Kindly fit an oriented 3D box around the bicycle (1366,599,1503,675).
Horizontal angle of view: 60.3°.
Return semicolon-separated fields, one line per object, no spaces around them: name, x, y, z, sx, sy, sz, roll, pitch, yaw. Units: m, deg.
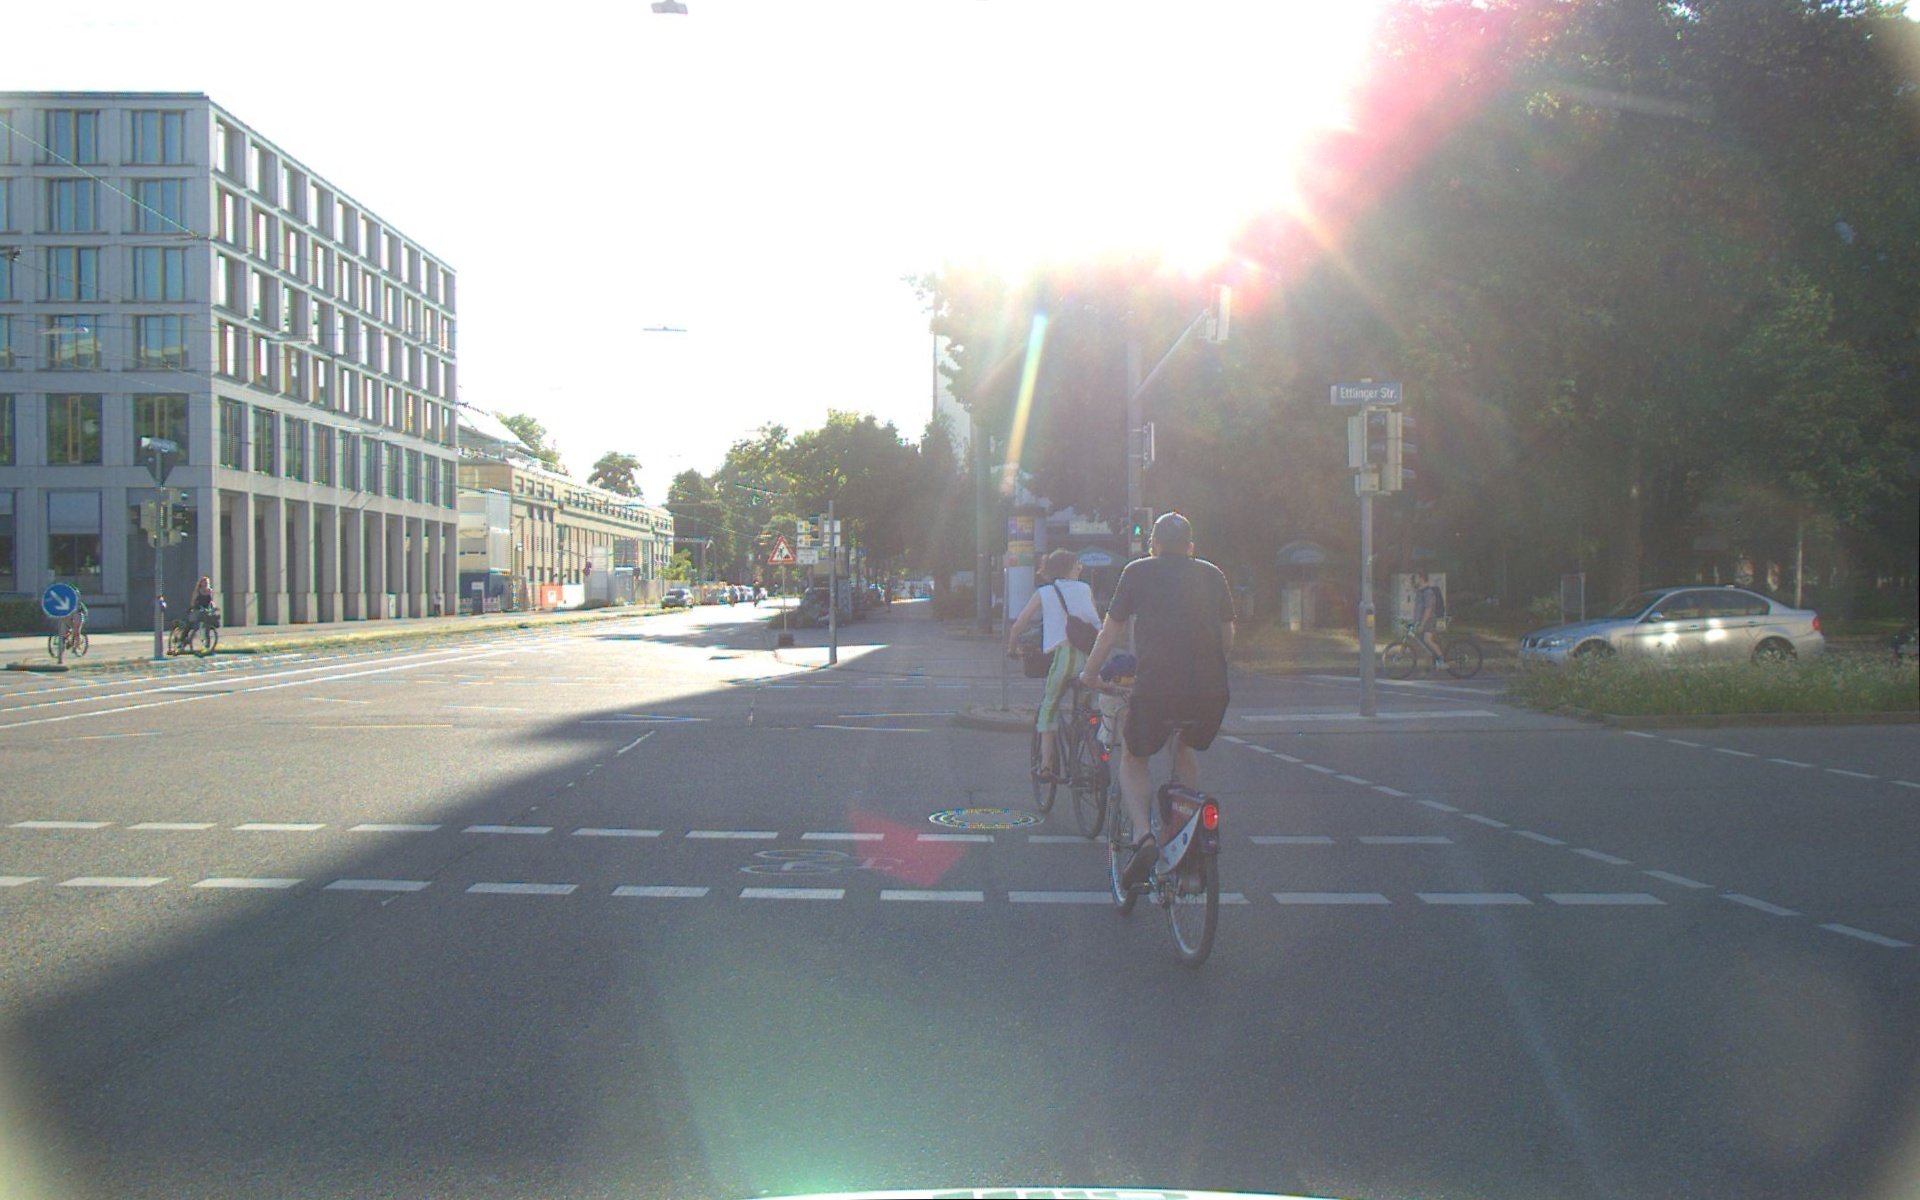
bicycle;8.056;0.631;28.184;2.194;1.261;0.779;-1;0;14

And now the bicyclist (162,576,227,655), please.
bicyclist;-16.365;0.323;35.354;0.951;1.647;0.851;-1;0;28

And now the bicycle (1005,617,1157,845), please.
bicycle;0.725;0.764;10.640;0.760;1.261;2.312;1;0;-1

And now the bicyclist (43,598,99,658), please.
bicyclist;-21.267;0.659;39.600;0.807;1.385;0.972;-1;0;-1

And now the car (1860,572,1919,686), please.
car;16.526;0.405;25.290;4.442;1.705;2.000;-1;0;-1

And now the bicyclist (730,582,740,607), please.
bicyclist;-16.597;-0.404;121.851;0.622;1.885;0.783;-1;0;-1

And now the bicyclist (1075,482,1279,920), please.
bicyclist;0.916;0.413;7.169;0.737;1.774;0.838;1;-1;-1

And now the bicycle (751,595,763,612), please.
bicycle;-14.307;0.213;116.733;0.647;1.176;1.808;-1;0;-1

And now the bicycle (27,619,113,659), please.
bicycle;-21.268;0.923;39.575;0.823;0.866;2.335;-1;0;-1

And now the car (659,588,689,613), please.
car;-23.450;0.004;135.807;1.954;2.004;3.997;-1;0;-3

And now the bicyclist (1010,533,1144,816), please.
bicyclist;0.729;0.457;10.580;0.757;1.720;0.925;1;0;-1

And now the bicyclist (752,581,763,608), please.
bicyclist;-14.326;-0.384;116.813;0.650;1.885;0.783;-1;0;-1

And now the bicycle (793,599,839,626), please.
bicycle;-5.144;0.436;58.889;1.571;0.904;0.768;-1;0;-10

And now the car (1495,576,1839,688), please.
car;10.803;0.466;25.506;4.442;1.588;2.000;-1;0;-1

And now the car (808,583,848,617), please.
car;-5.937;-0.018;74.744;1.664;1.453;3.997;-1;0;-3

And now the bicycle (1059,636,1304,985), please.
bicycle;0.903;0.821;7.286;0.760;1.261;2.020;1;0;-1

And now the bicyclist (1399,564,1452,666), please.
bicyclist;7.937;0.257;28.215;0.818;1.708;0.784;-1;-1;13

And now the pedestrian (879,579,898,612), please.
pedestrian;-3.859;-0.232;89.389;0.770;1.771;0.889;-1;0;-20

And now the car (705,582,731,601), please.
car;-22.120;-0.764;151.162;1.954;1.668;3.997;-1;0;-3

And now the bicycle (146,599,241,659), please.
bicycle;-16.395;0.616;35.376;1.969;1.252;0.845;-1;0;28

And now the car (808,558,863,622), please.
car;-6.050;-0.495;81.080;2.540;3.004;5.085;-1;0;-3
